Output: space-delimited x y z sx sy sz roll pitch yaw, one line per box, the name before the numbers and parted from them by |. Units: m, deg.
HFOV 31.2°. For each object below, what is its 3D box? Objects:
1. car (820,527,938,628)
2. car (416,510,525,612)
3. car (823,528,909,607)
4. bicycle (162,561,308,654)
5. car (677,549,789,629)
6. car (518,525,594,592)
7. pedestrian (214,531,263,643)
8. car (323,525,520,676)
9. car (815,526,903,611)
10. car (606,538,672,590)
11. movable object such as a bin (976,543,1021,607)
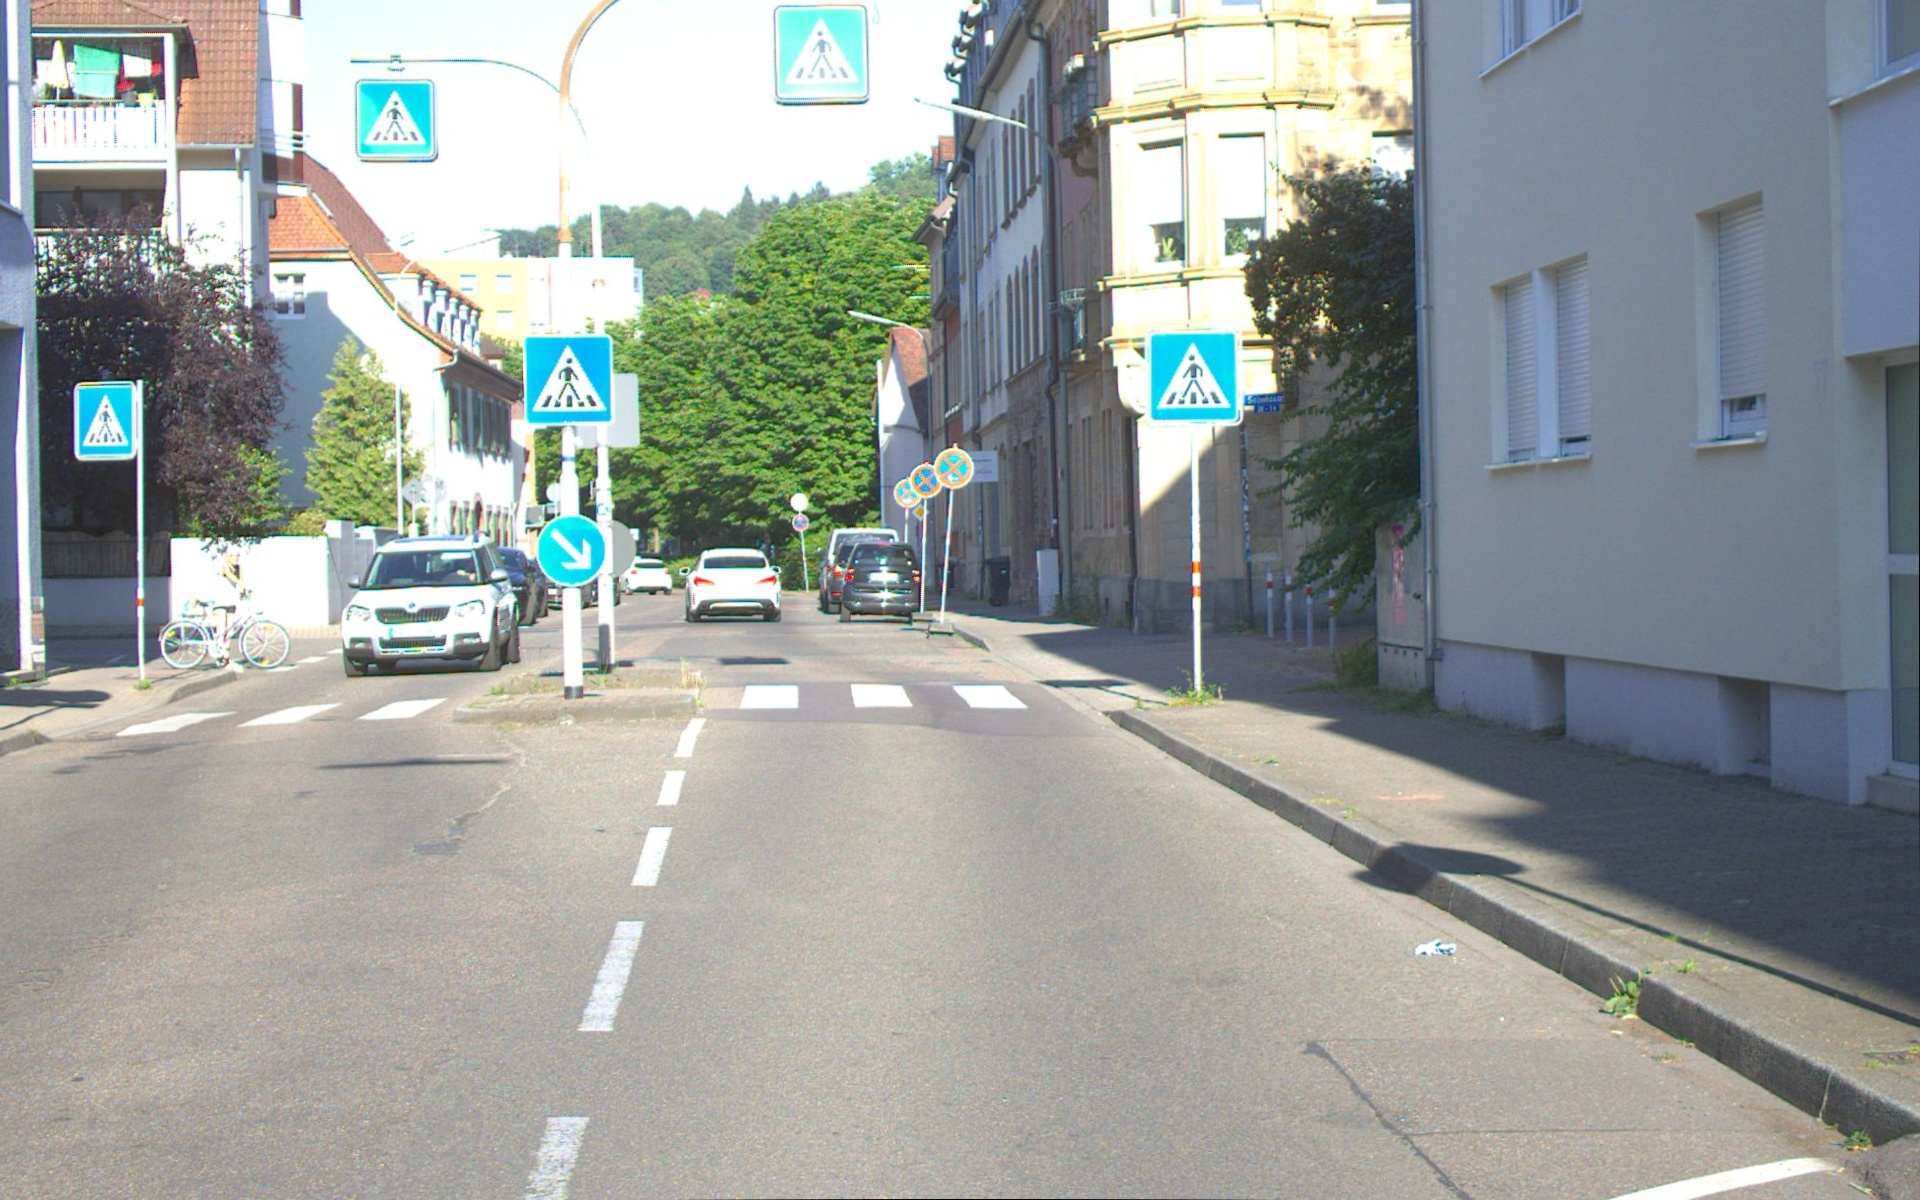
car | -1.582 -0.451 65.865 2.010 1.846 4.001 0 2 -5
car | -9.944 -0.809 70.040 1.993 2.007 4.001 -1 1 -5
car | -2.099 -0.751 77.215 1.818 1.625 4.001 -2 2 -1
bicycle | -9.542 0.094 45.284 1.786 1.180 0.599 -1 1 -3
car | -4.457 -0.237 67.055 1.993 1.461 4.001 -1 1 -6
car | -11.363 -1.184 96.961 1.910 1.754 4.129 -2 2 -5
pedestrian | -9.567 -0.177 45.588 0.556 1.467 0.601 -1 1 -7
car | -6.490 -0.037 41.834 1.807 1.695 4.192 -1 1 -2
car | -2.436 -0.774 82.128 1.841 1.899 4.001 -2 2 -5
car | -12.781 -1.440 136.791 1.993 2.007 4.001 -1 1 -14
movable object such as a bin | 0.854 -0.567 76.719 0.871 1.373 0.685 -3 2 -7
